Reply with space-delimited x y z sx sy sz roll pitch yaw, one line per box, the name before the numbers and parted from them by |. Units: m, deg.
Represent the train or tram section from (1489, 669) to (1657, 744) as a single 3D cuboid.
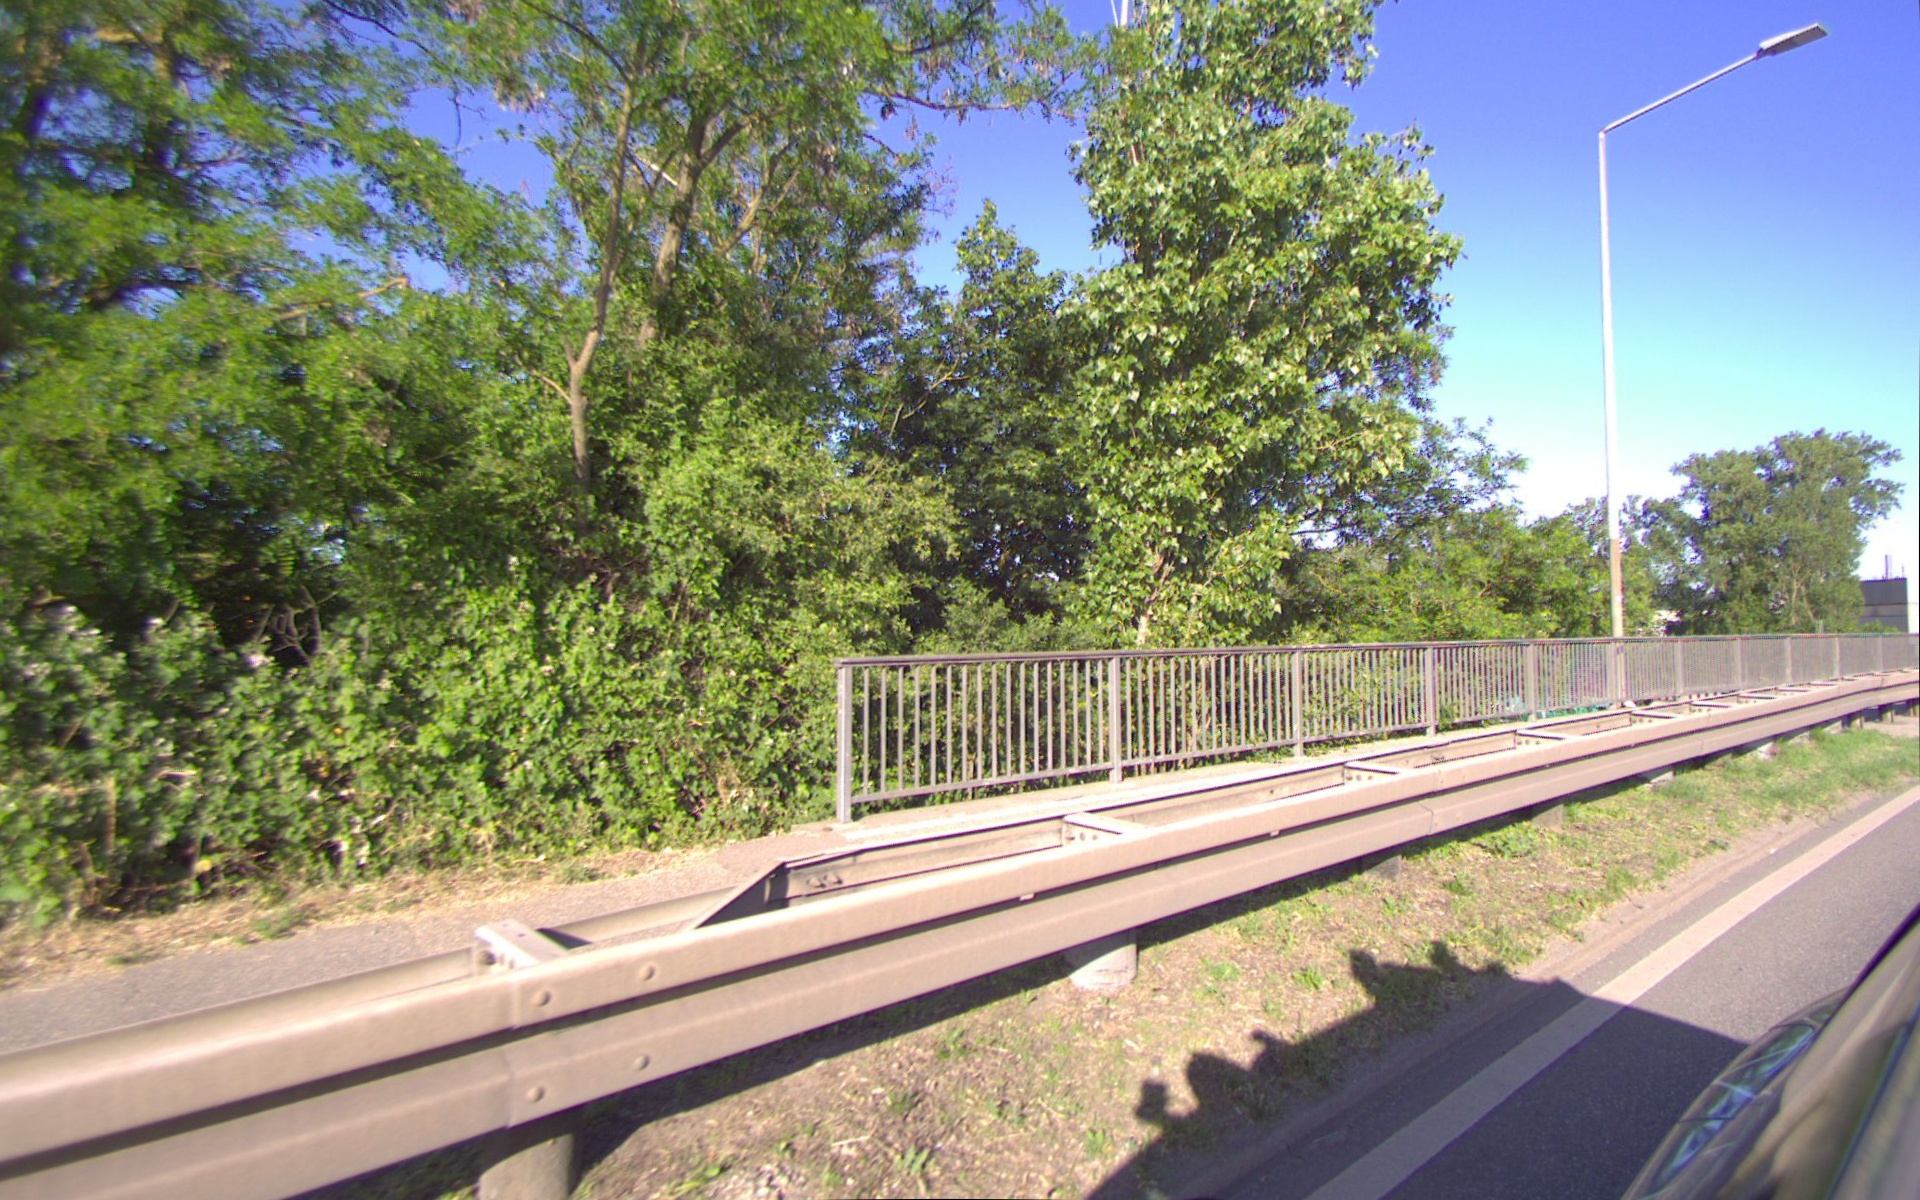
train or tram section | 56.108 9.560 93.557 3.266 5.249 15.211 1 0 -15
